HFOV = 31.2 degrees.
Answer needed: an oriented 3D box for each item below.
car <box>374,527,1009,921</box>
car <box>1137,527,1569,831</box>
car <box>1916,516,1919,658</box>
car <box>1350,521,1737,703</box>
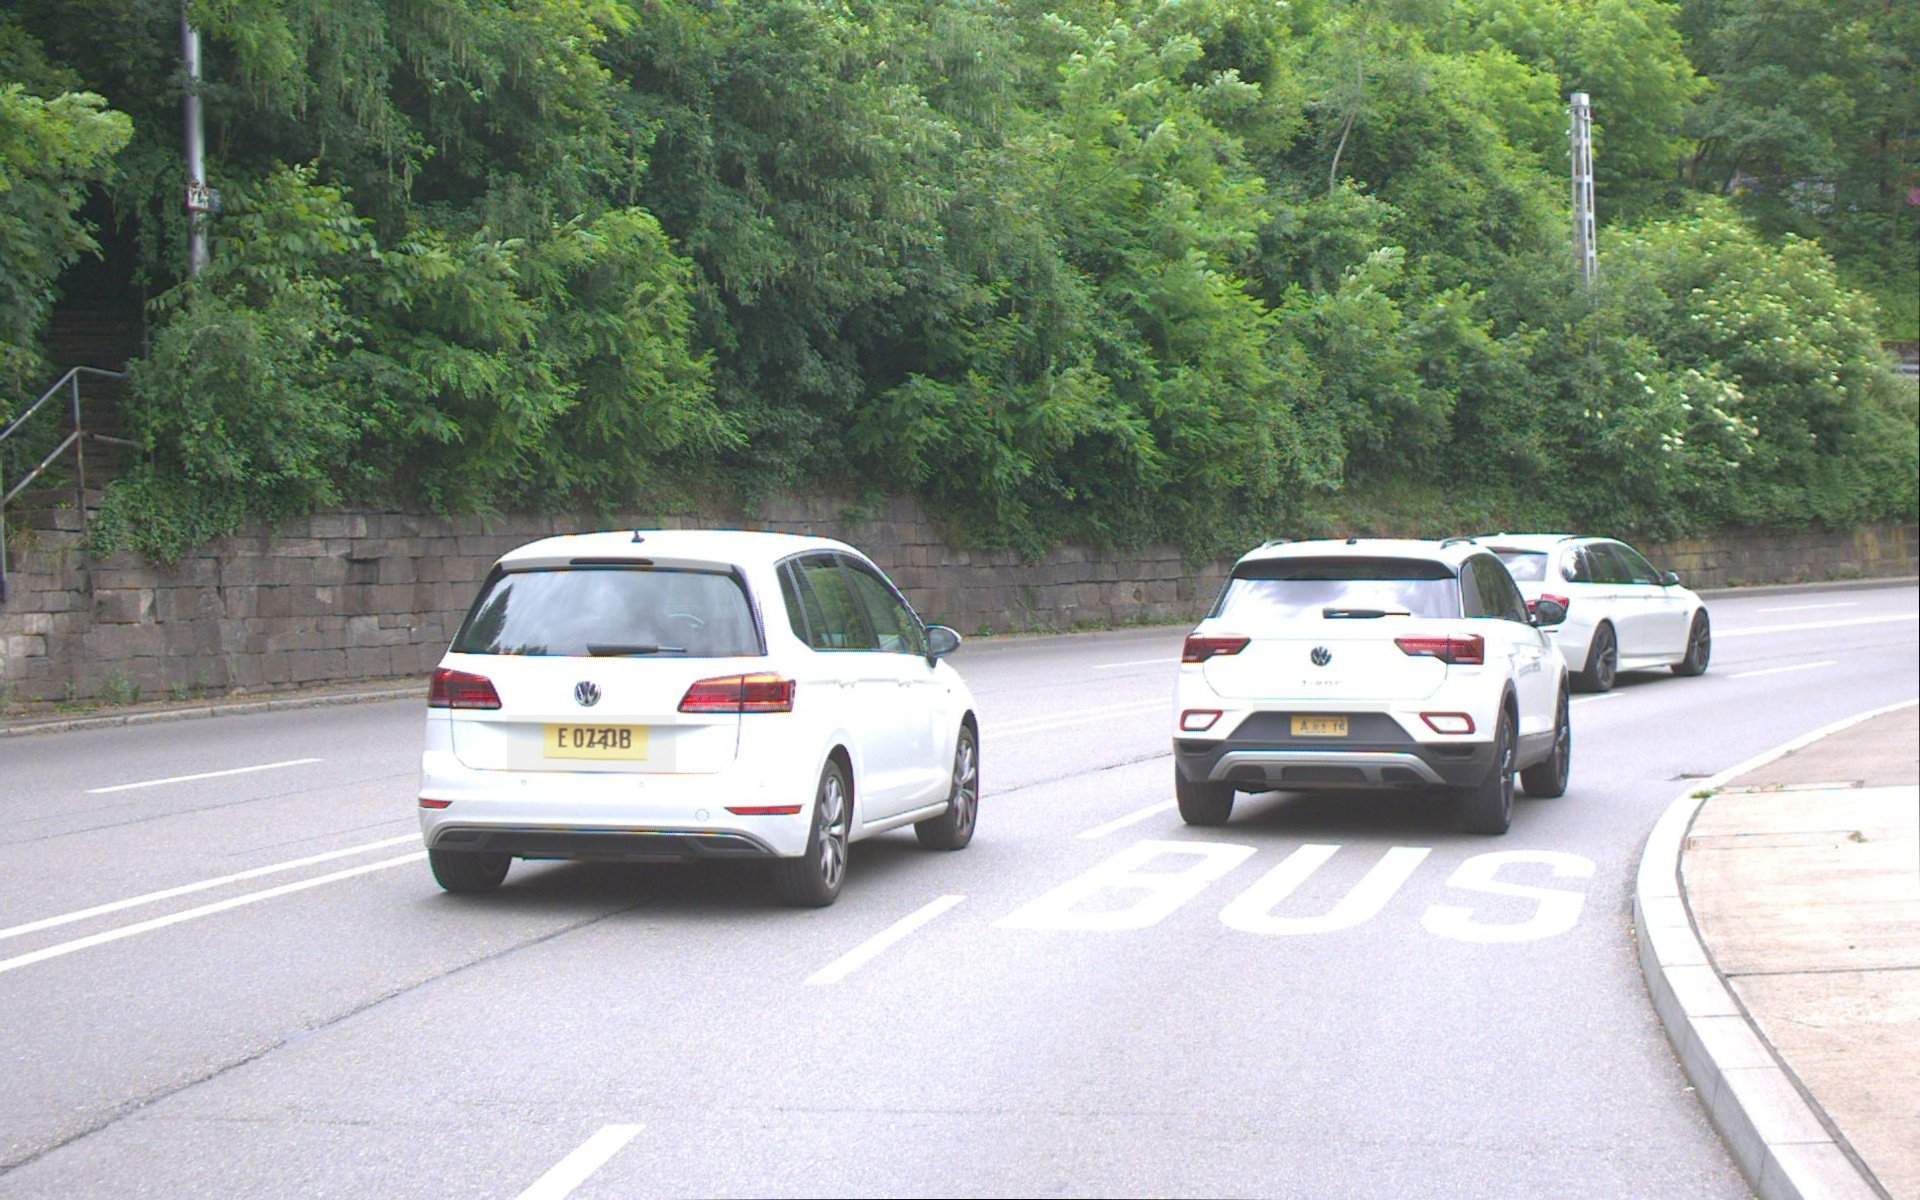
[{"bbox_3d":[-1.062,0.456,15.839,1.721,1.549,4.273,0,1,13],"label":"car"},{"bbox_3d":[2.337,0.406,19.518,1.815,1.534,4.005,-1,0,15],"label":"car"},{"bbox_3d":[12.159,-0.256,38.215,1.997,1.837,4.143,2,0,29],"label":"car"},{"bbox_3d":[5.725,0.057,33.244,1.997,1.552,4.672,3,3,32],"label":"car"}]
